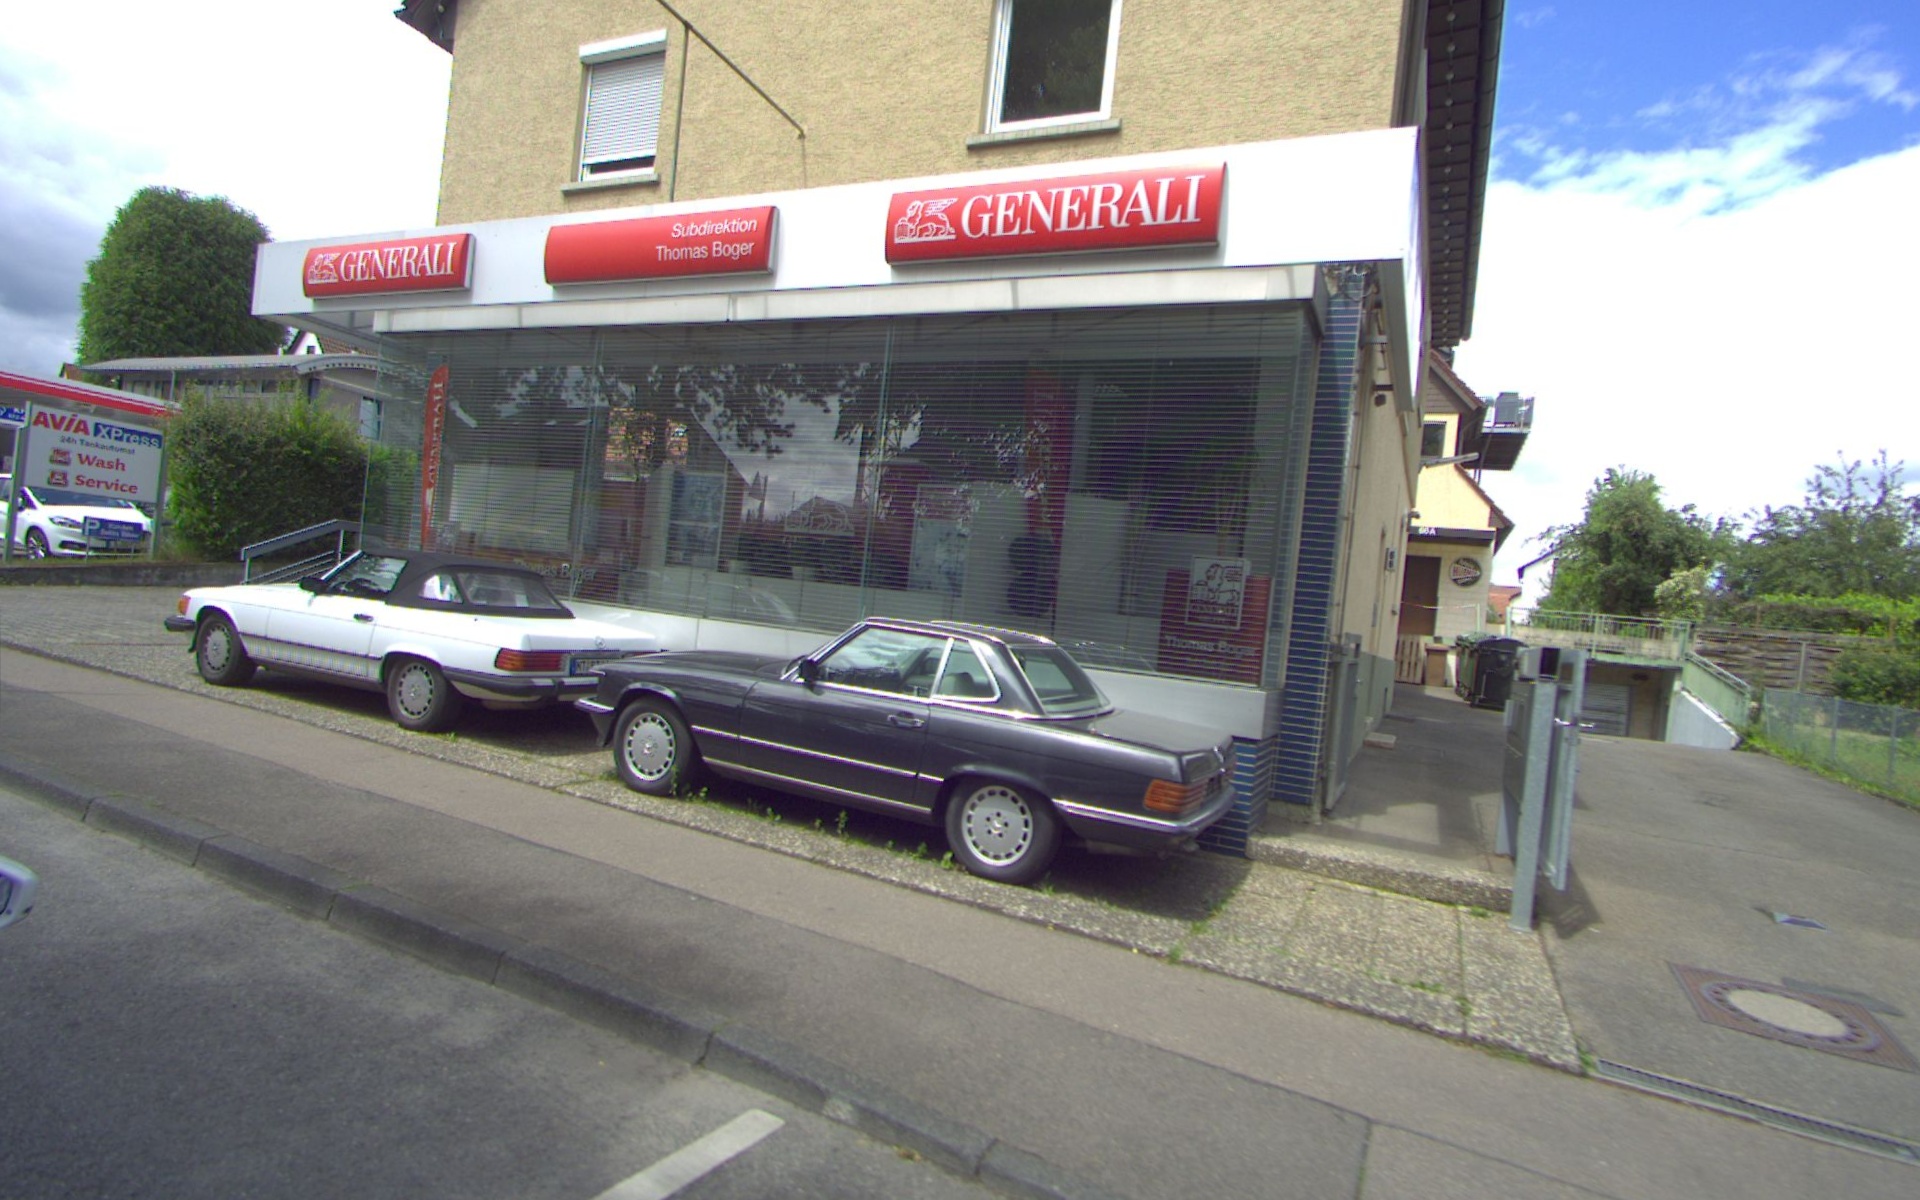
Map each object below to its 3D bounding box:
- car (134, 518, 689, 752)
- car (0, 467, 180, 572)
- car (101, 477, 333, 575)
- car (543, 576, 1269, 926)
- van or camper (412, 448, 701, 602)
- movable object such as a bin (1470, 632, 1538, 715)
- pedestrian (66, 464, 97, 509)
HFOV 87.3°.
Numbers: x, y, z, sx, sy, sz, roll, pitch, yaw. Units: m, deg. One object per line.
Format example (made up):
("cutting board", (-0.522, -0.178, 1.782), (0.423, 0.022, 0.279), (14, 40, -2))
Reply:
("car", (-4.747, 0.212, 8.684), (4.400, 1.333, 1.789), (6, 0, 23))
("car", (-15.771, -1.456, 17.527), (4.127, 1.550, 1.636), (6, 3, 23))
("car", (-14.889, -1.489, 20.119), (4.573, 1.563, 1.714), (6, 3, 24))
("car", (-0.380, 0.742, 6.489), (4.239, 1.300, 1.789), (6, 0, 25))
("van or camper", (-8.854, -1.563, 22.860), (2.485, 2.890, 5.966), (7, 3, 23))
("movable object such as a bin", (10.773, 1.470, 19.916), (1.012, 1.482, 1.150), (6, -2, 30))
("pedestrian", (-39.154, -5.046, 44.835), (0.665, 1.866, 0.682), (7, -1, -18))
